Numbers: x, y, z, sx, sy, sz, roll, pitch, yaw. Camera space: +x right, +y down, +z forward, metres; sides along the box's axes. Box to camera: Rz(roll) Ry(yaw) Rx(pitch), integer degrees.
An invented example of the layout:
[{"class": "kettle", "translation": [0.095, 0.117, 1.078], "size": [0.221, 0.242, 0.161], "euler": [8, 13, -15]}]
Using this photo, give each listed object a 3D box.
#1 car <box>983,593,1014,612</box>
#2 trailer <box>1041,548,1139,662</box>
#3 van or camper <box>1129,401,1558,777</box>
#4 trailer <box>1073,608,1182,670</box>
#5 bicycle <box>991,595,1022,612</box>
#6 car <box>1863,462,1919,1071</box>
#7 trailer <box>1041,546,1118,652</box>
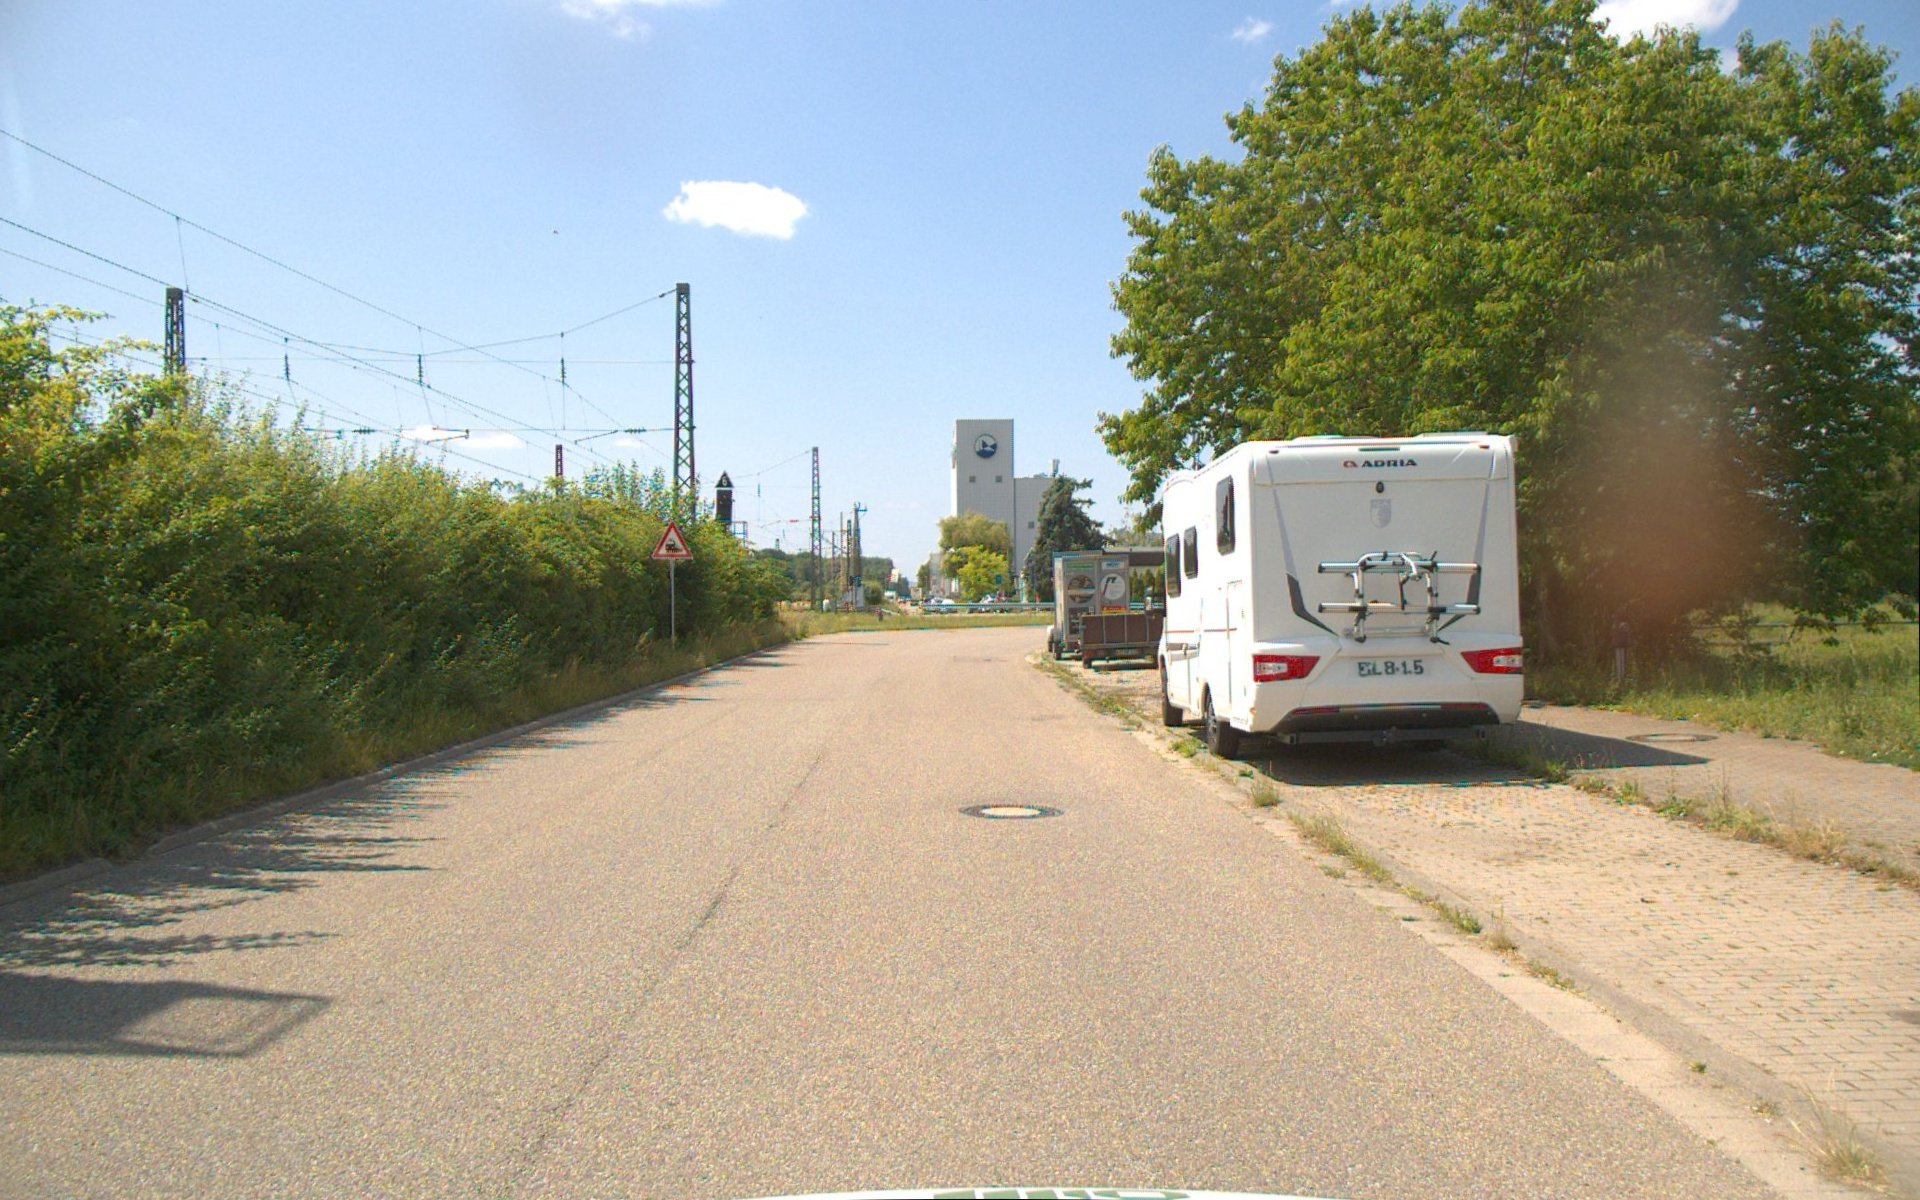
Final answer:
[{"class": "car", "translation": [3.221, 0.199, 139.111], "size": [1.955, 1.536, 4.448], "euler": [-1, 0, -7]}, {"class": "trailer", "translation": [3.157, 0.114, 41.008], "size": [1.880, 2.552, 4.740], "euler": [-3, 0, -1]}, {"class": "van or camper", "translation": [3.413, -0.098, 16.830], "size": [2.389, 2.876, 7.621], "euler": [-2, 0, -1]}, {"class": "trailer", "translation": [3.523, 0.806, 35.550], "size": [1.963, 1.142, 4.490], "euler": [-3, -1, 2]}, {"class": "bicycle", "translation": [3.241, 0.247, 116.065], "size": [2.099, 1.185, 0.660], "euler": [0, 0, 30]}, {"class": "car", "translation": [3.820, 0.470, 2.471], "size": [1.810, 1.846, 5.424], "euler": [-4, 0, -1]}, {"class": "trailer", "translation": [3.356, -0.052, 46.155], "size": [1.892, 2.690, 5.187], "euler": [-3, 0, 5]}]
